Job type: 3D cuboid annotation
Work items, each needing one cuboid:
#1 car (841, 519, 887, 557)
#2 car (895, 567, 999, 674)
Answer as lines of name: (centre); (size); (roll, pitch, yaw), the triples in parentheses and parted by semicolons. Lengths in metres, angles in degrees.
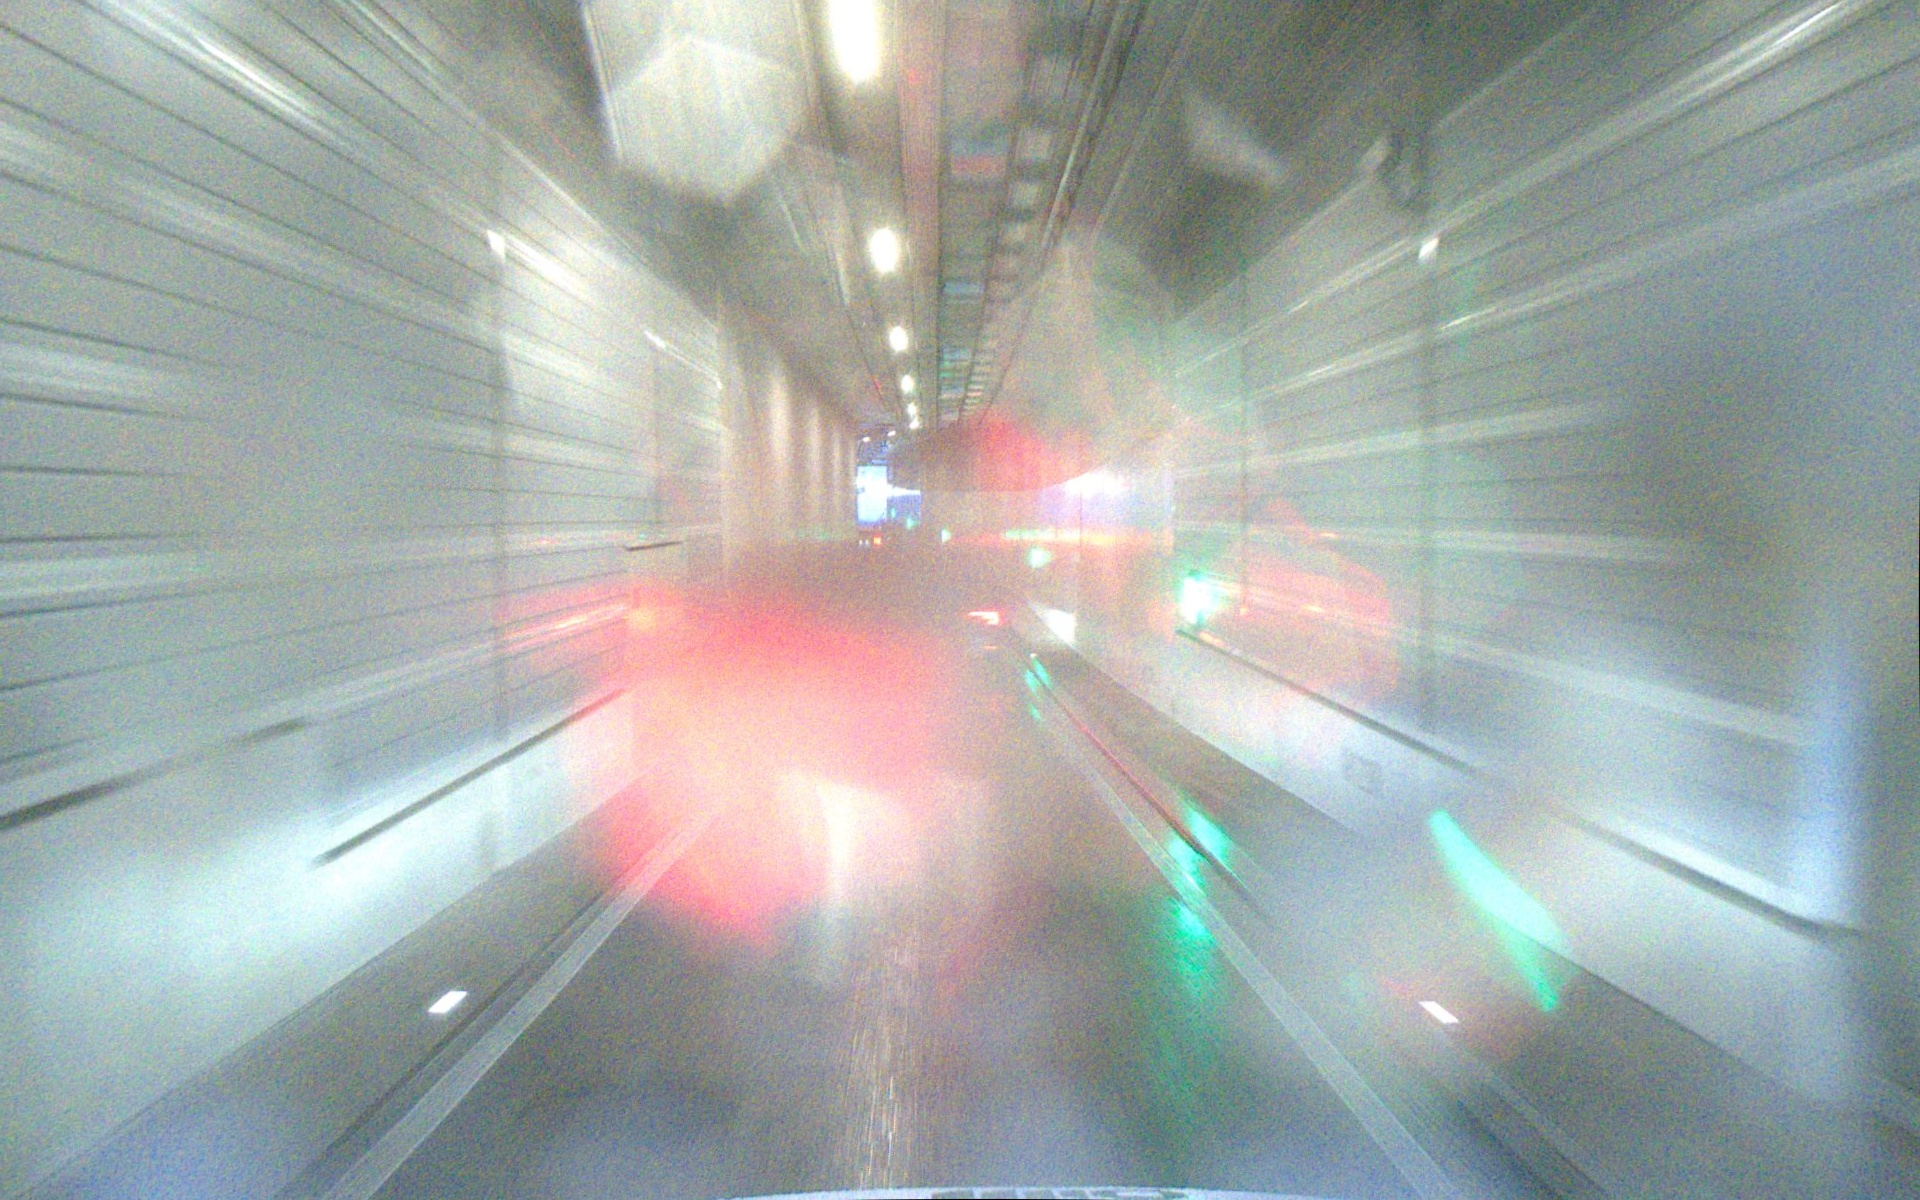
car: (-4.373, -2.794, 74.609); (1.844, 1.648, 3.995); (1, 2, -7)
car: (-0.219, 0.263, 25.592); (1.501, 1.421, 3.434); (0, 3, -1)
